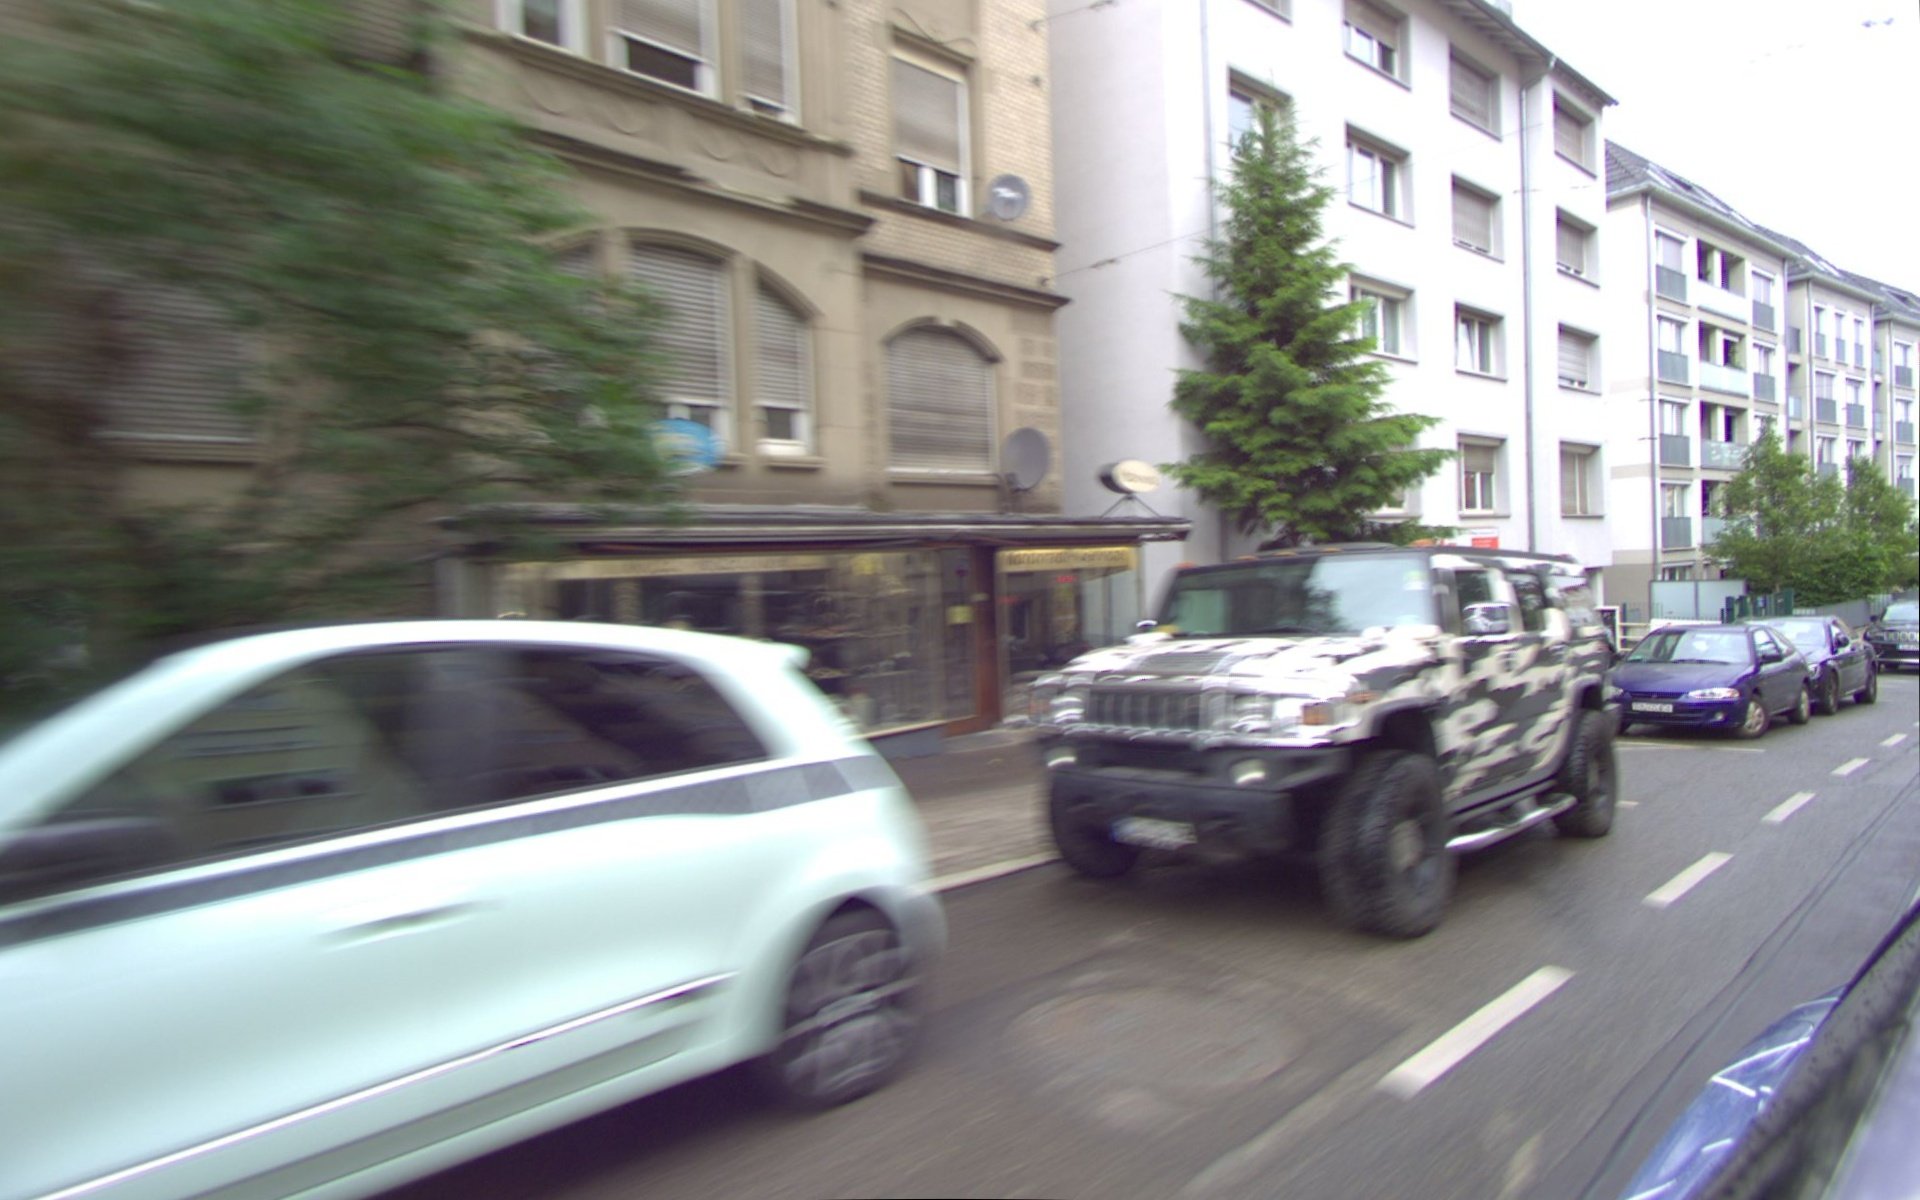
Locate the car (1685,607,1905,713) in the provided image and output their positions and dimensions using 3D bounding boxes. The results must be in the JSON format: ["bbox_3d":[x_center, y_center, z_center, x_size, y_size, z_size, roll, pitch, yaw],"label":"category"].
[{"bbox_3d":[13.399,0.865,16.140,4.527,1.456,1.798,0,-2,-39],"label":"car"}]

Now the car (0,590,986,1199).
[{"bbox_3d":[-1.722,0.798,2.875,3.525,1.566,1.560,0,-3,-45],"label":"car"}]

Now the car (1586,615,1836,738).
[{"bbox_3d":[9.914,0.903,13.276,3.812,1.355,1.682,0,-2,-38],"label":"car"}]

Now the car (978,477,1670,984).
[{"bbox_3d":[2.747,0.565,6.690,5.261,2.040,2.130,0,-3,-44],"label":"car"}]

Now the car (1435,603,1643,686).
[{"bbox_3d":[11.301,0.825,19.693,4.072,1.445,1.818,0,-3,-33],"label":"car"}]

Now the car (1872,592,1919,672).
[{"bbox_3d":[23.868,0.712,24.493,4.734,1.818,1.946,-1,-1,-39],"label":"car"}]

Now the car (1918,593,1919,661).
[{"bbox_3d":[27.760,0.717,27.587,4.390,1.818,1.782,0,-1,-38],"label":"car"}]
